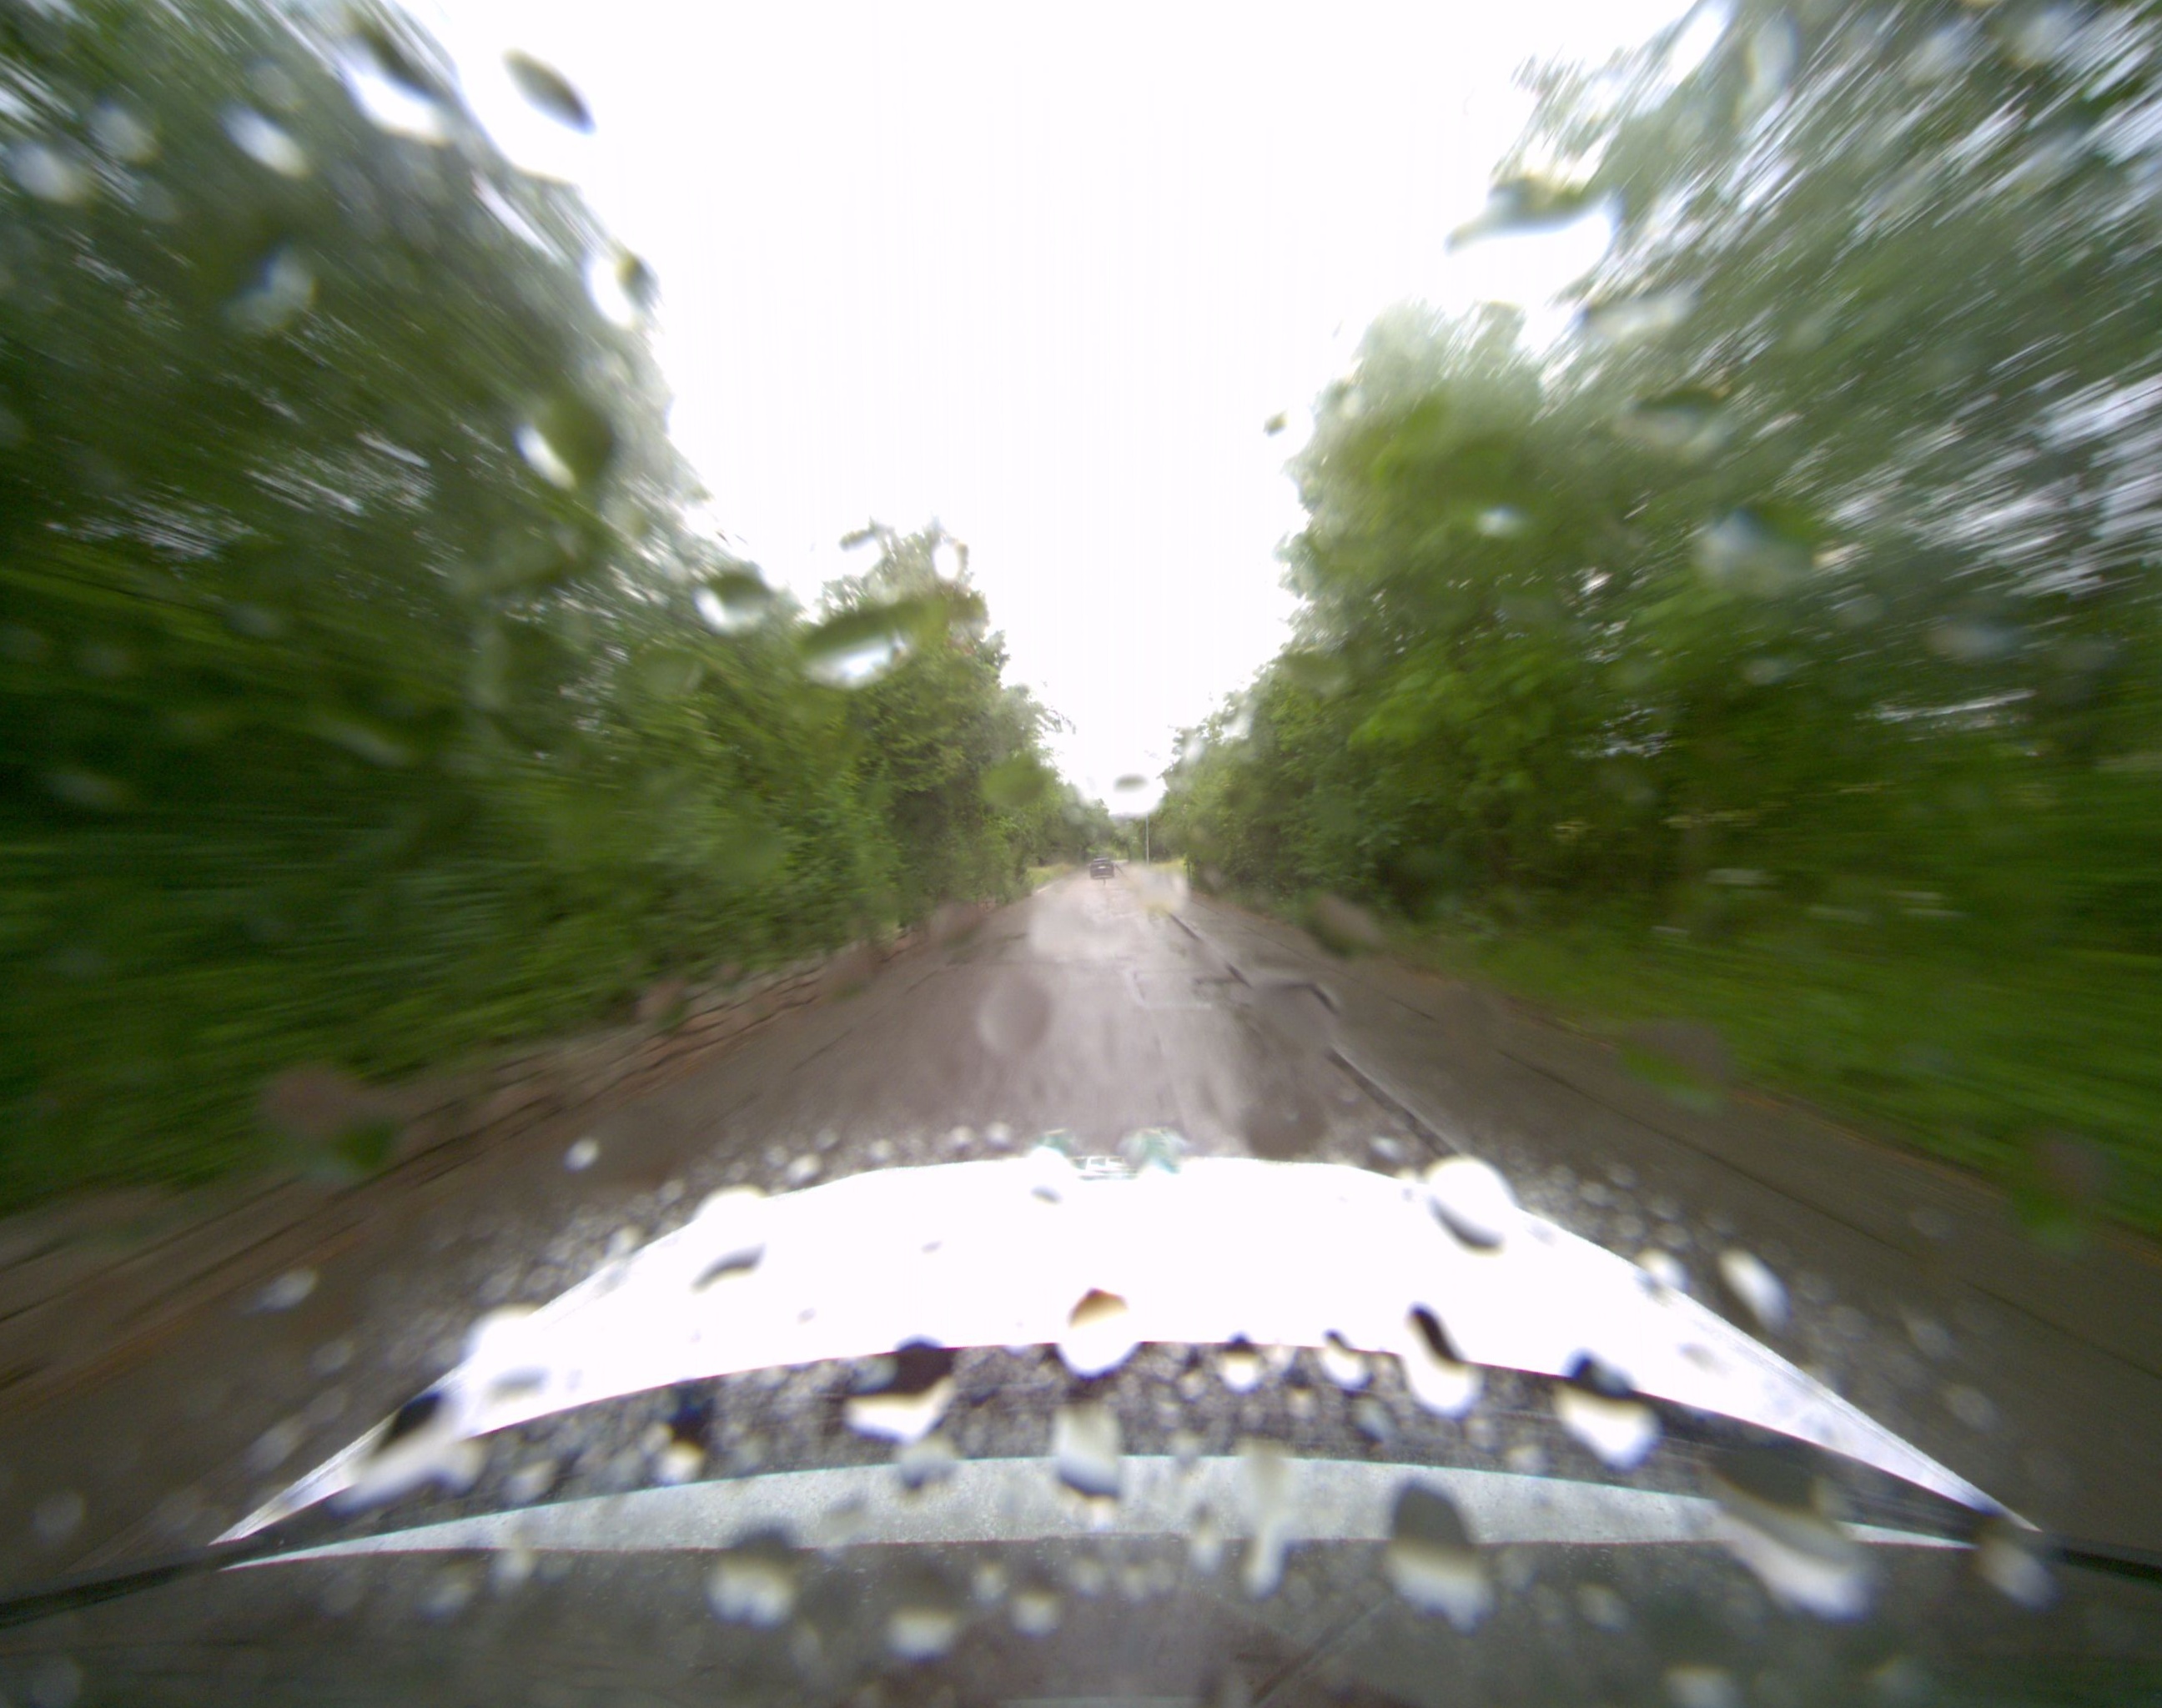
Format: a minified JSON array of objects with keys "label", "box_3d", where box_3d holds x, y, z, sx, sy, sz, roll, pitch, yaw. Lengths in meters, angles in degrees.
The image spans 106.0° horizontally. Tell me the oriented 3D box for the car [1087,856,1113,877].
[{"label":"car","box_3d":[1.409,0.928,59.910,1.627,1.450,3.548,-2,-1,4]}]
